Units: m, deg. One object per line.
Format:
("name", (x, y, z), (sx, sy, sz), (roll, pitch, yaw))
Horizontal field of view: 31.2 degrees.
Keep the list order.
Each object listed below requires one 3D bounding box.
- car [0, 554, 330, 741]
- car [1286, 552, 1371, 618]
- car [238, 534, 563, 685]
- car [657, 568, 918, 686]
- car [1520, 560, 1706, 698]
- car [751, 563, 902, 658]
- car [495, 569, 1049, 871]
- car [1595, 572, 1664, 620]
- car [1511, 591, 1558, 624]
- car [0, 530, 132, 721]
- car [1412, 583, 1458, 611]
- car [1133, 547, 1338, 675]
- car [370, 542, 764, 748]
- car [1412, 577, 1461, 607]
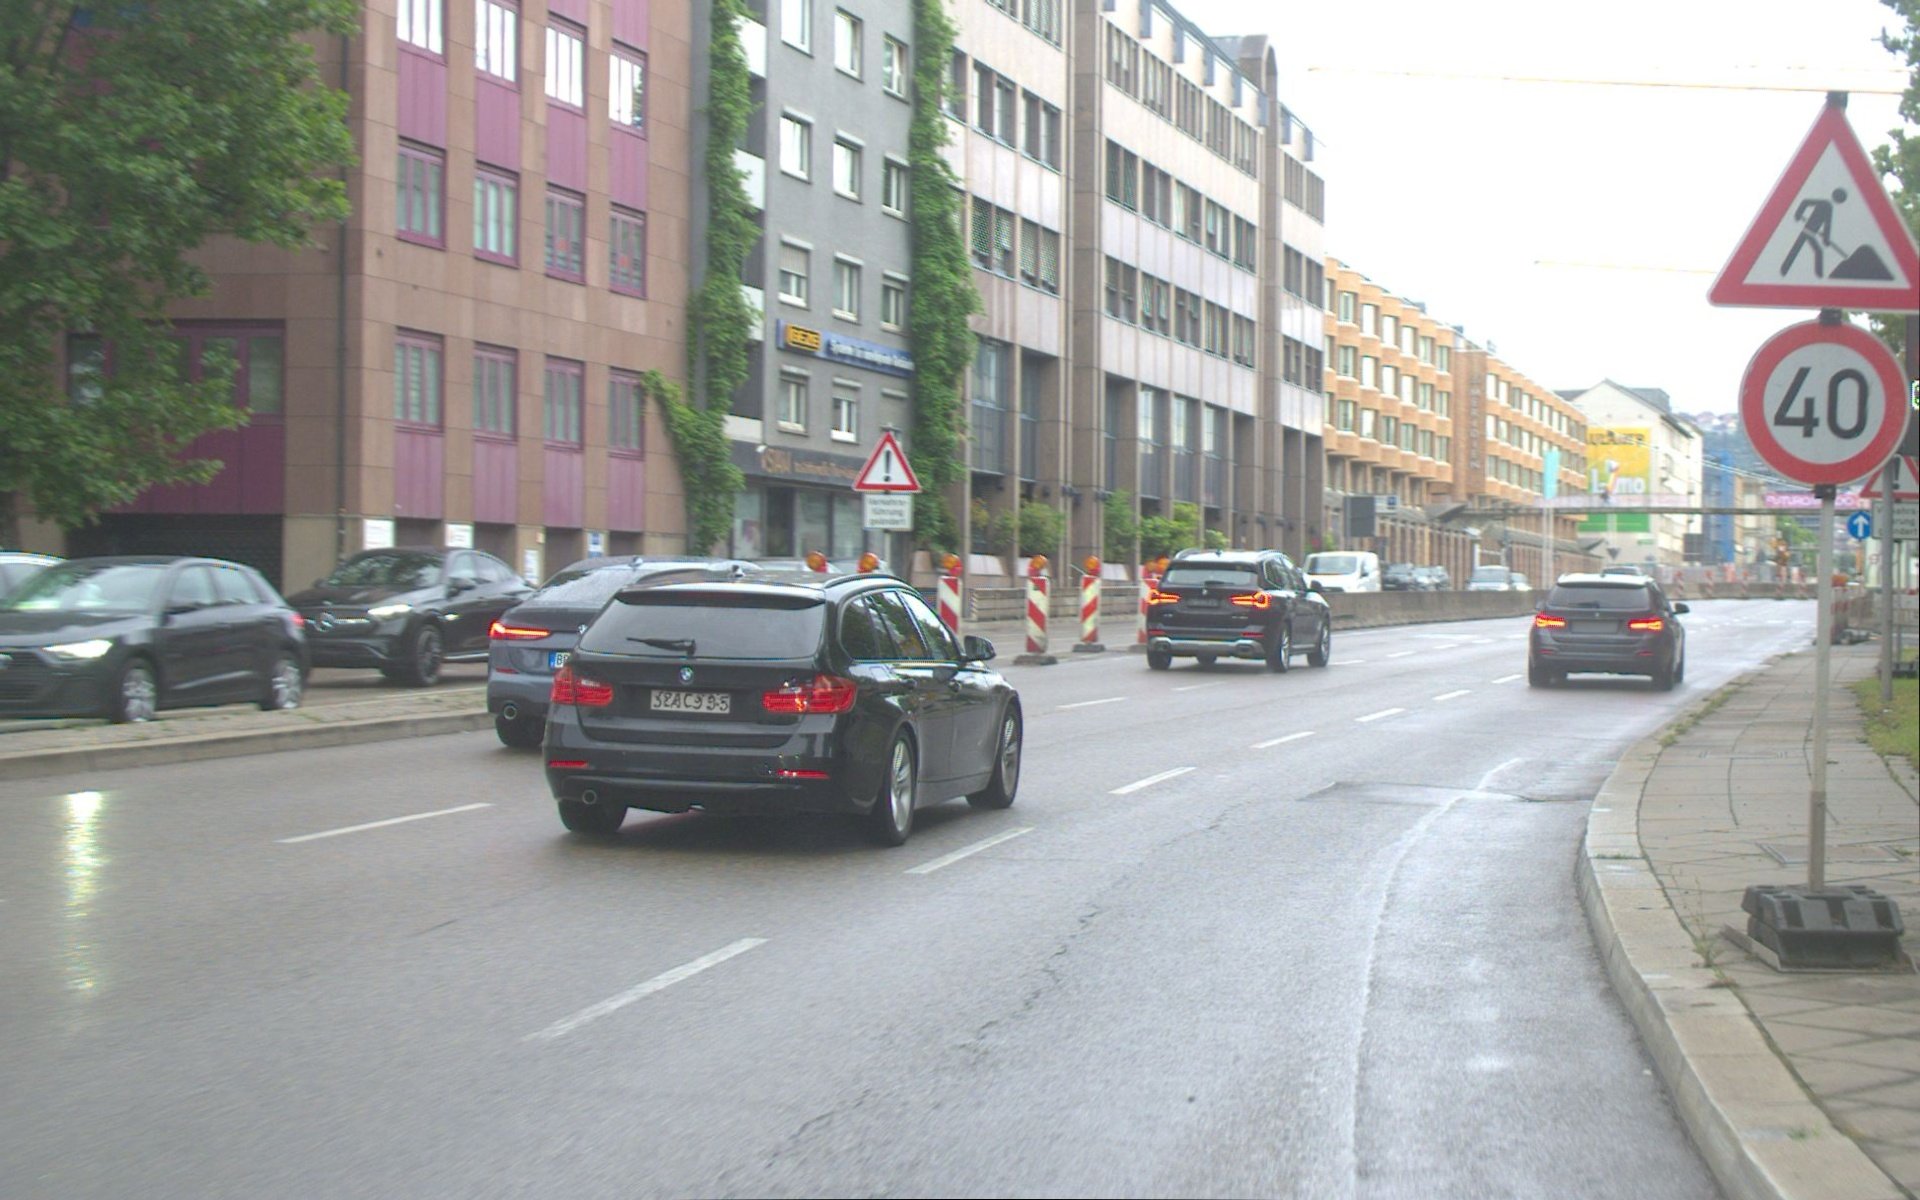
("car", (-6.843, 0.360, 28.075), (1.767, 1.412, 4.080), (0, 0, 15))
("car", (11.399, -0.439, 105.969), (1.995, 1.983, 5.286), (0, 0, 13))
("car", (-6.536, 0.099, 40.808), (1.995, 1.672, 4.934), (0, 0, 14))
("car", (-2.148, 0.318, 44.454), (1.995, 1.433, 4.934), (0, 0, 14))
("car", (8.456, 0.359, 44.268), (1.901, 1.688, 3.996), (0, 0, 17))
("car", (-2.157, 0.148, 56.196), (1.557, 1.479, 2.946), (0, 1, 18))
("car", (-0.881, 0.568, 19.132), (1.792, 1.421, 4.610), (2, 1, 14))
("car", (23.785, -0.144, 122.082), (1.902, 1.688, 3.996), (0, 0, 19))
("car", (27.761, 0.359, 166.068), (1.861, 1.528, 4.228), (0, 0, 14))
("car", (-9.237, 0.224, 30.379), (1.767, 1.676, 4.587), (0, 0, 15))
("car", (27.181, -0.174, 196.628), (1.995, 1.614, 4.314), (0, 0, 16))
("car", (3.840, 0.149, 47.349), (1.902, 1.688, 3.996), (0, 0, 19))
("car", (-2.871, 0.315, 26.120), (1.791, 1.422, 4.382), (0, 0, 10))
("car", (25.723, -0.415, 185.517), (1.995, 1.614, 4.759), (0, 0, 16))
